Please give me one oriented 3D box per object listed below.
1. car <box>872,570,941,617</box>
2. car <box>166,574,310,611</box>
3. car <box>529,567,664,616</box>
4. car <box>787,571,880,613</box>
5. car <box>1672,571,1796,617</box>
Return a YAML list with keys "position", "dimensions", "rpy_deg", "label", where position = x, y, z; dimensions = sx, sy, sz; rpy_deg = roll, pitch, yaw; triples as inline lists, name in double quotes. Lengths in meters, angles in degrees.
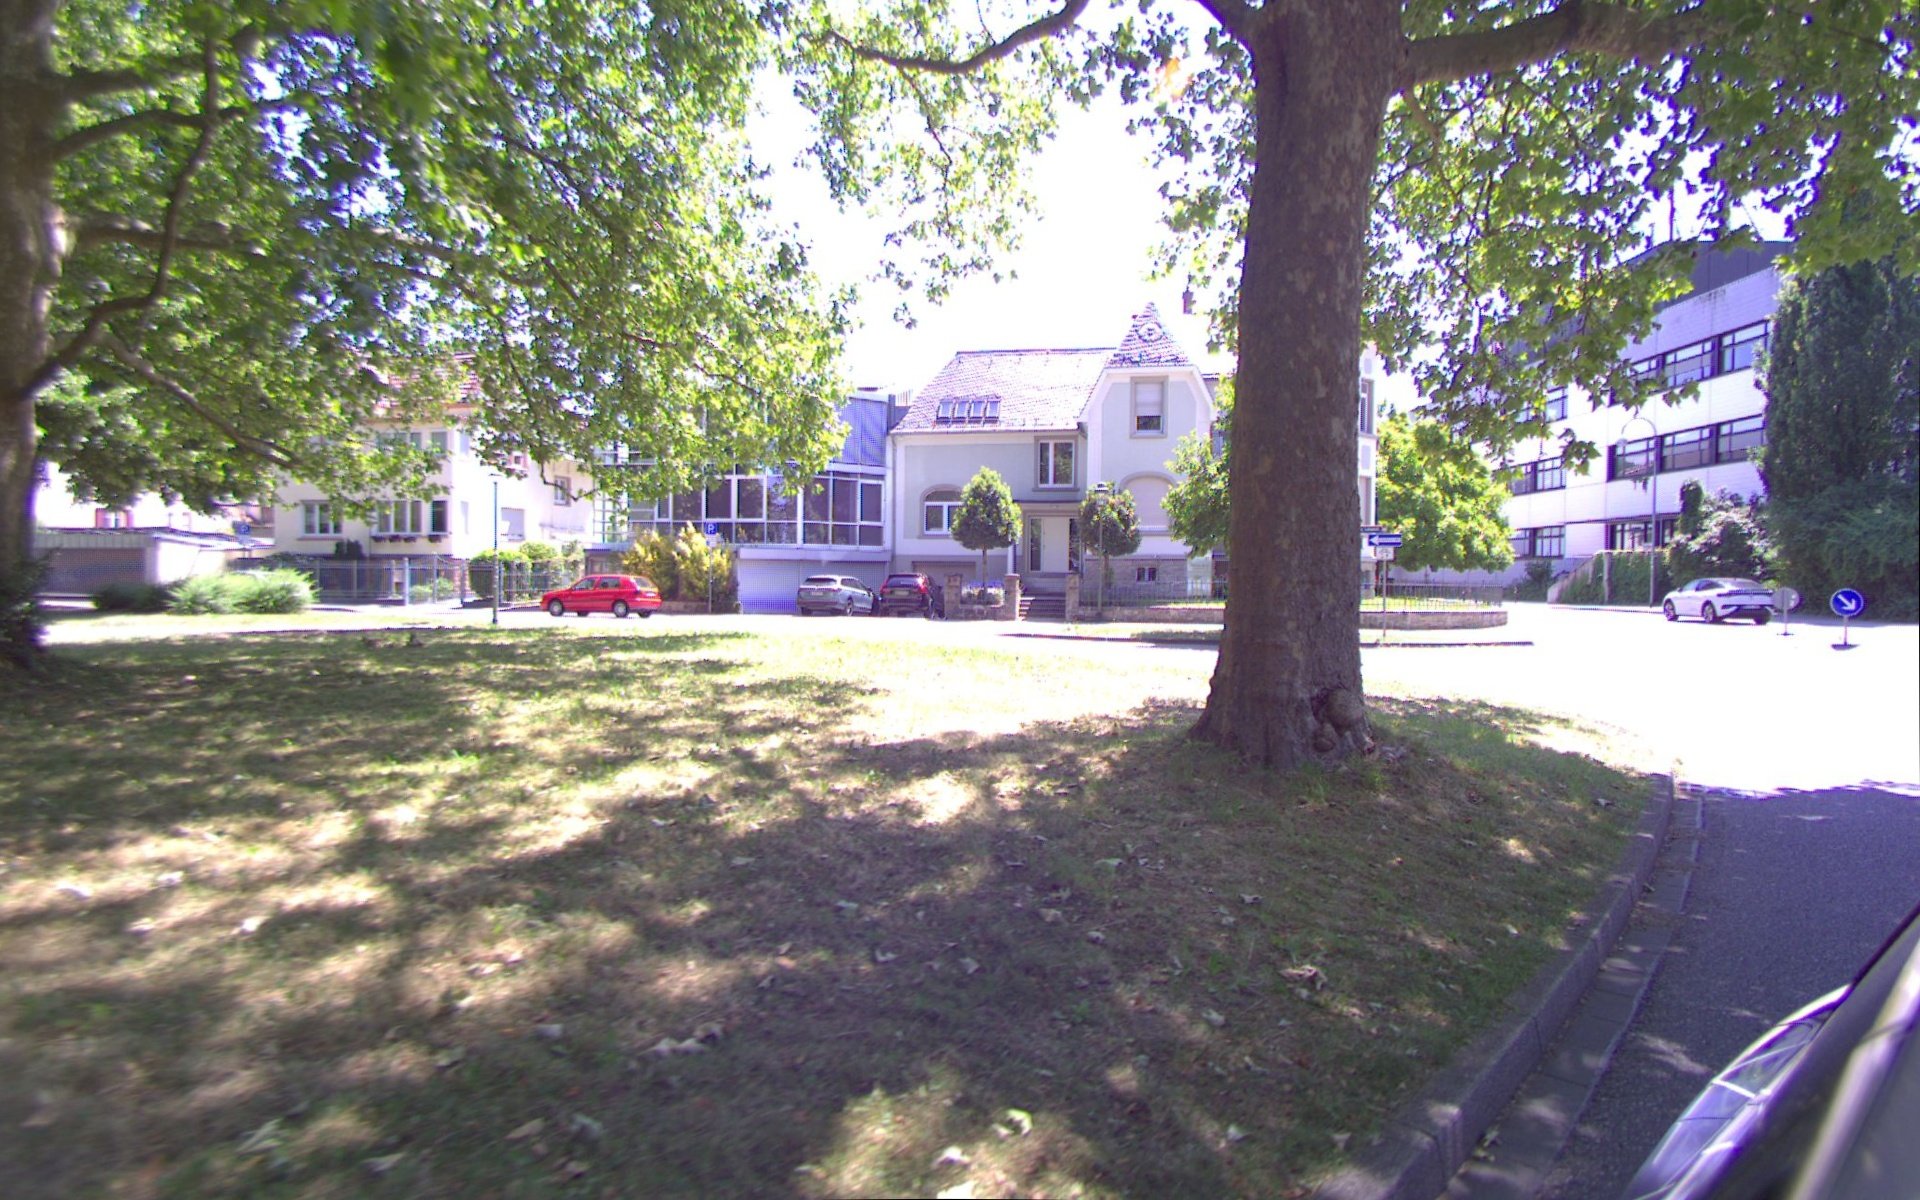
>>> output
- position: [-1.868, -0.281, 36.724]
  dimensions: [1.964, 1.587, 3.996]
  rpy_deg: [-1, 2, 5]
  label: "car"
- position: [-26.996, -0.271, 37.894]
  dimensions: [4.640, 1.303, 1.666]
  rpy_deg: [0, 2, 11]
  label: "car"
- position: [-12.114, -0.309, 33.815]
  dimensions: [3.936, 1.543, 1.749]
  rpy_deg: [1, 1, 11]
  label: "car"
- position: [-4.530, -0.318, 36.747]
  dimensions: [1.972, 1.408, 3.982]
  rpy_deg: [-1, 2, 16]
  label: "car"
- position: [27.685, -0.224, 36.378]
  dimensions: [1.822, 1.549, 4.324]
  rpy_deg: [0, 1, 12]
  label: "car"
